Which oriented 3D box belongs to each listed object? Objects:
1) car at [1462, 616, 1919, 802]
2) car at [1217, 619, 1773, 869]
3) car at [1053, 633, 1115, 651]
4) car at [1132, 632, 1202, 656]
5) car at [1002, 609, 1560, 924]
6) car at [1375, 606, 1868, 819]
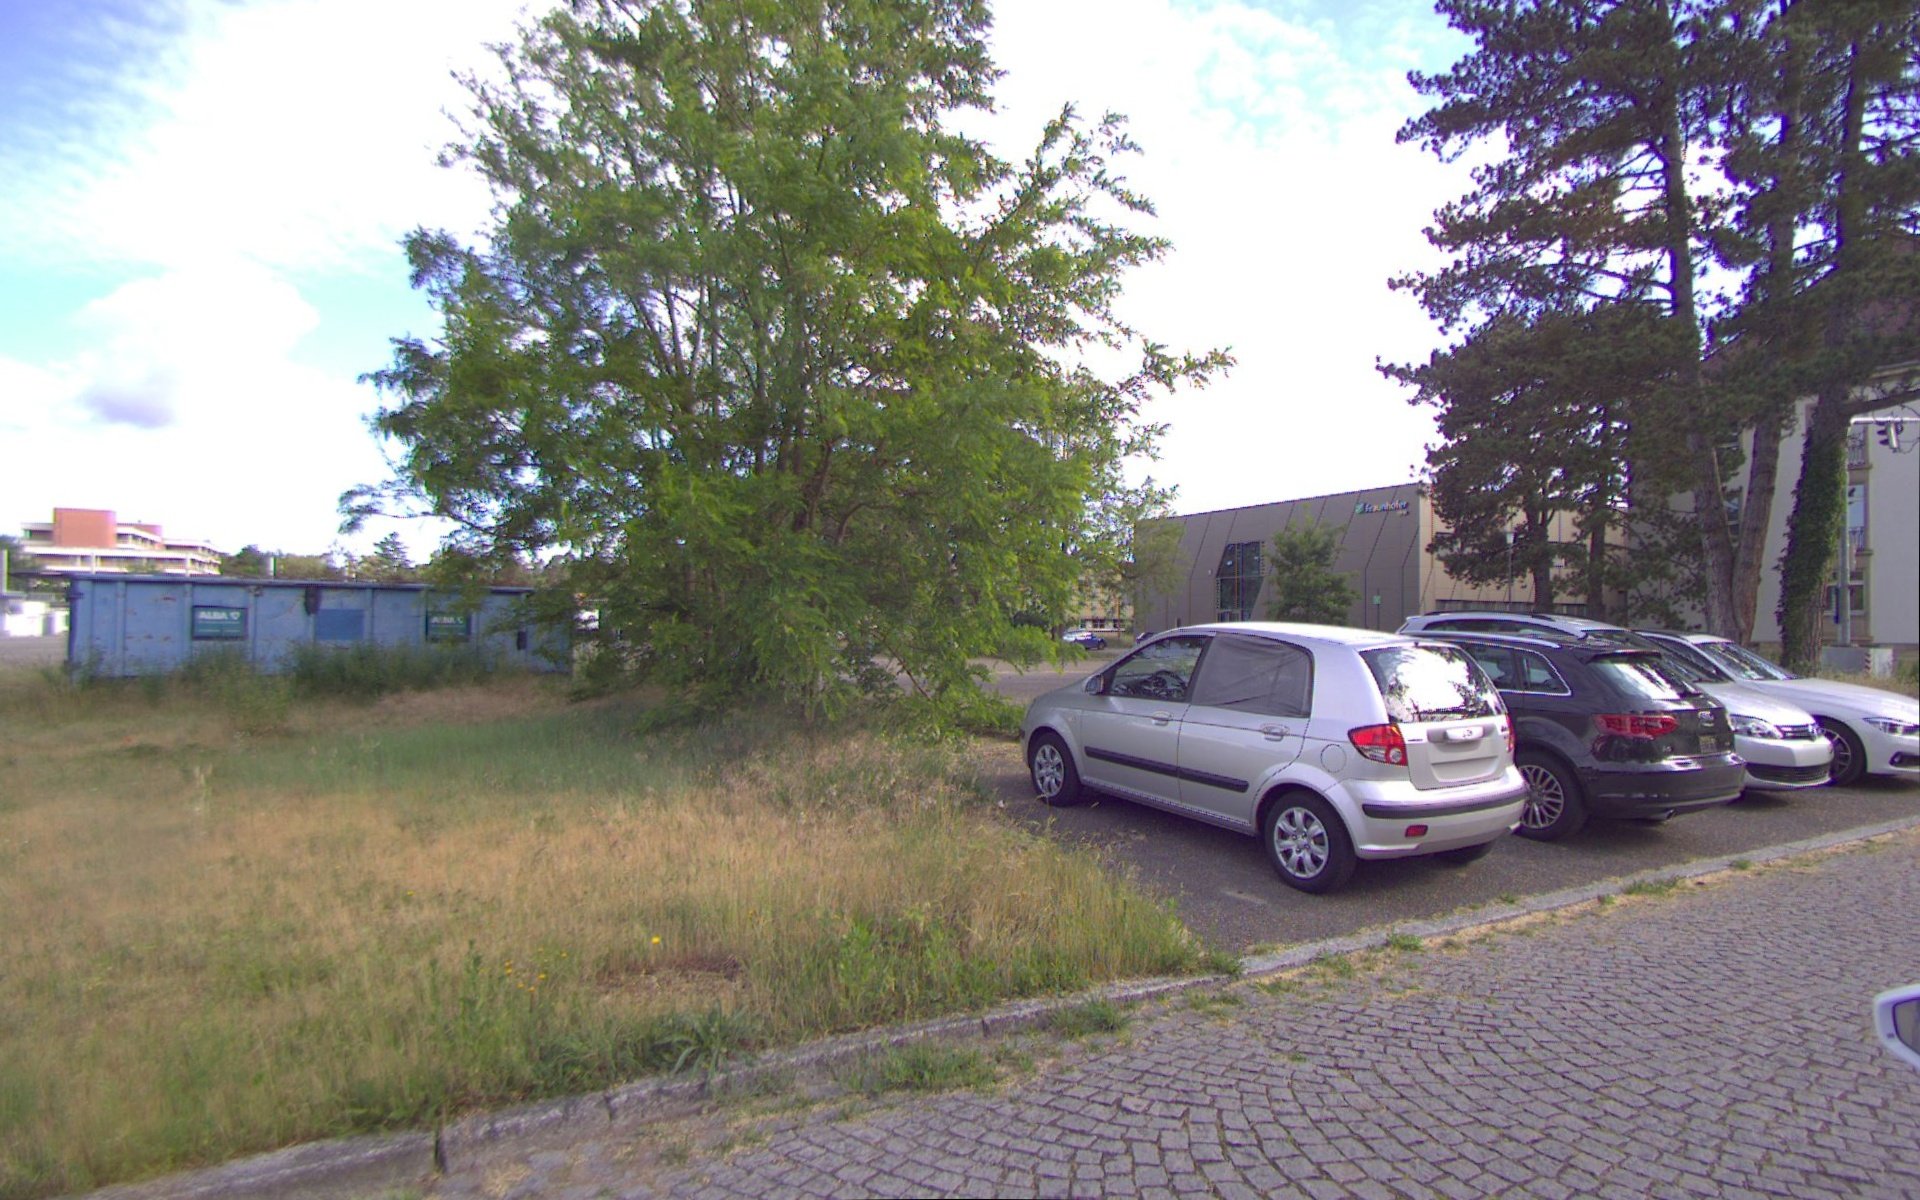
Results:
[{"bbox_3d":[8.466,1.050,11.607,1.810,1.461,4.452,1,2,-32],"label":"car"},{"bbox_3d":[4.158,0.960,8.454,1.675,1.427,3.818,1,1,-29],"label":"car"},{"bbox_3d":[8.762,2.953,70.899,4.142,1.289,1.600,1,-2,-26],"label":"car"},{"bbox_3d":[12.925,2.739,62.675,4.077,1.433,1.752,1,-2,-26],"label":"car"},{"bbox_3d":[1.966,0.888,7.113,1.628,1.495,3.558,1,1,-31],"label":"car"},{"bbox_3d":[6.445,0.939,10.222,1.716,1.628,3.811,1,1,-31],"label":"car"}]
